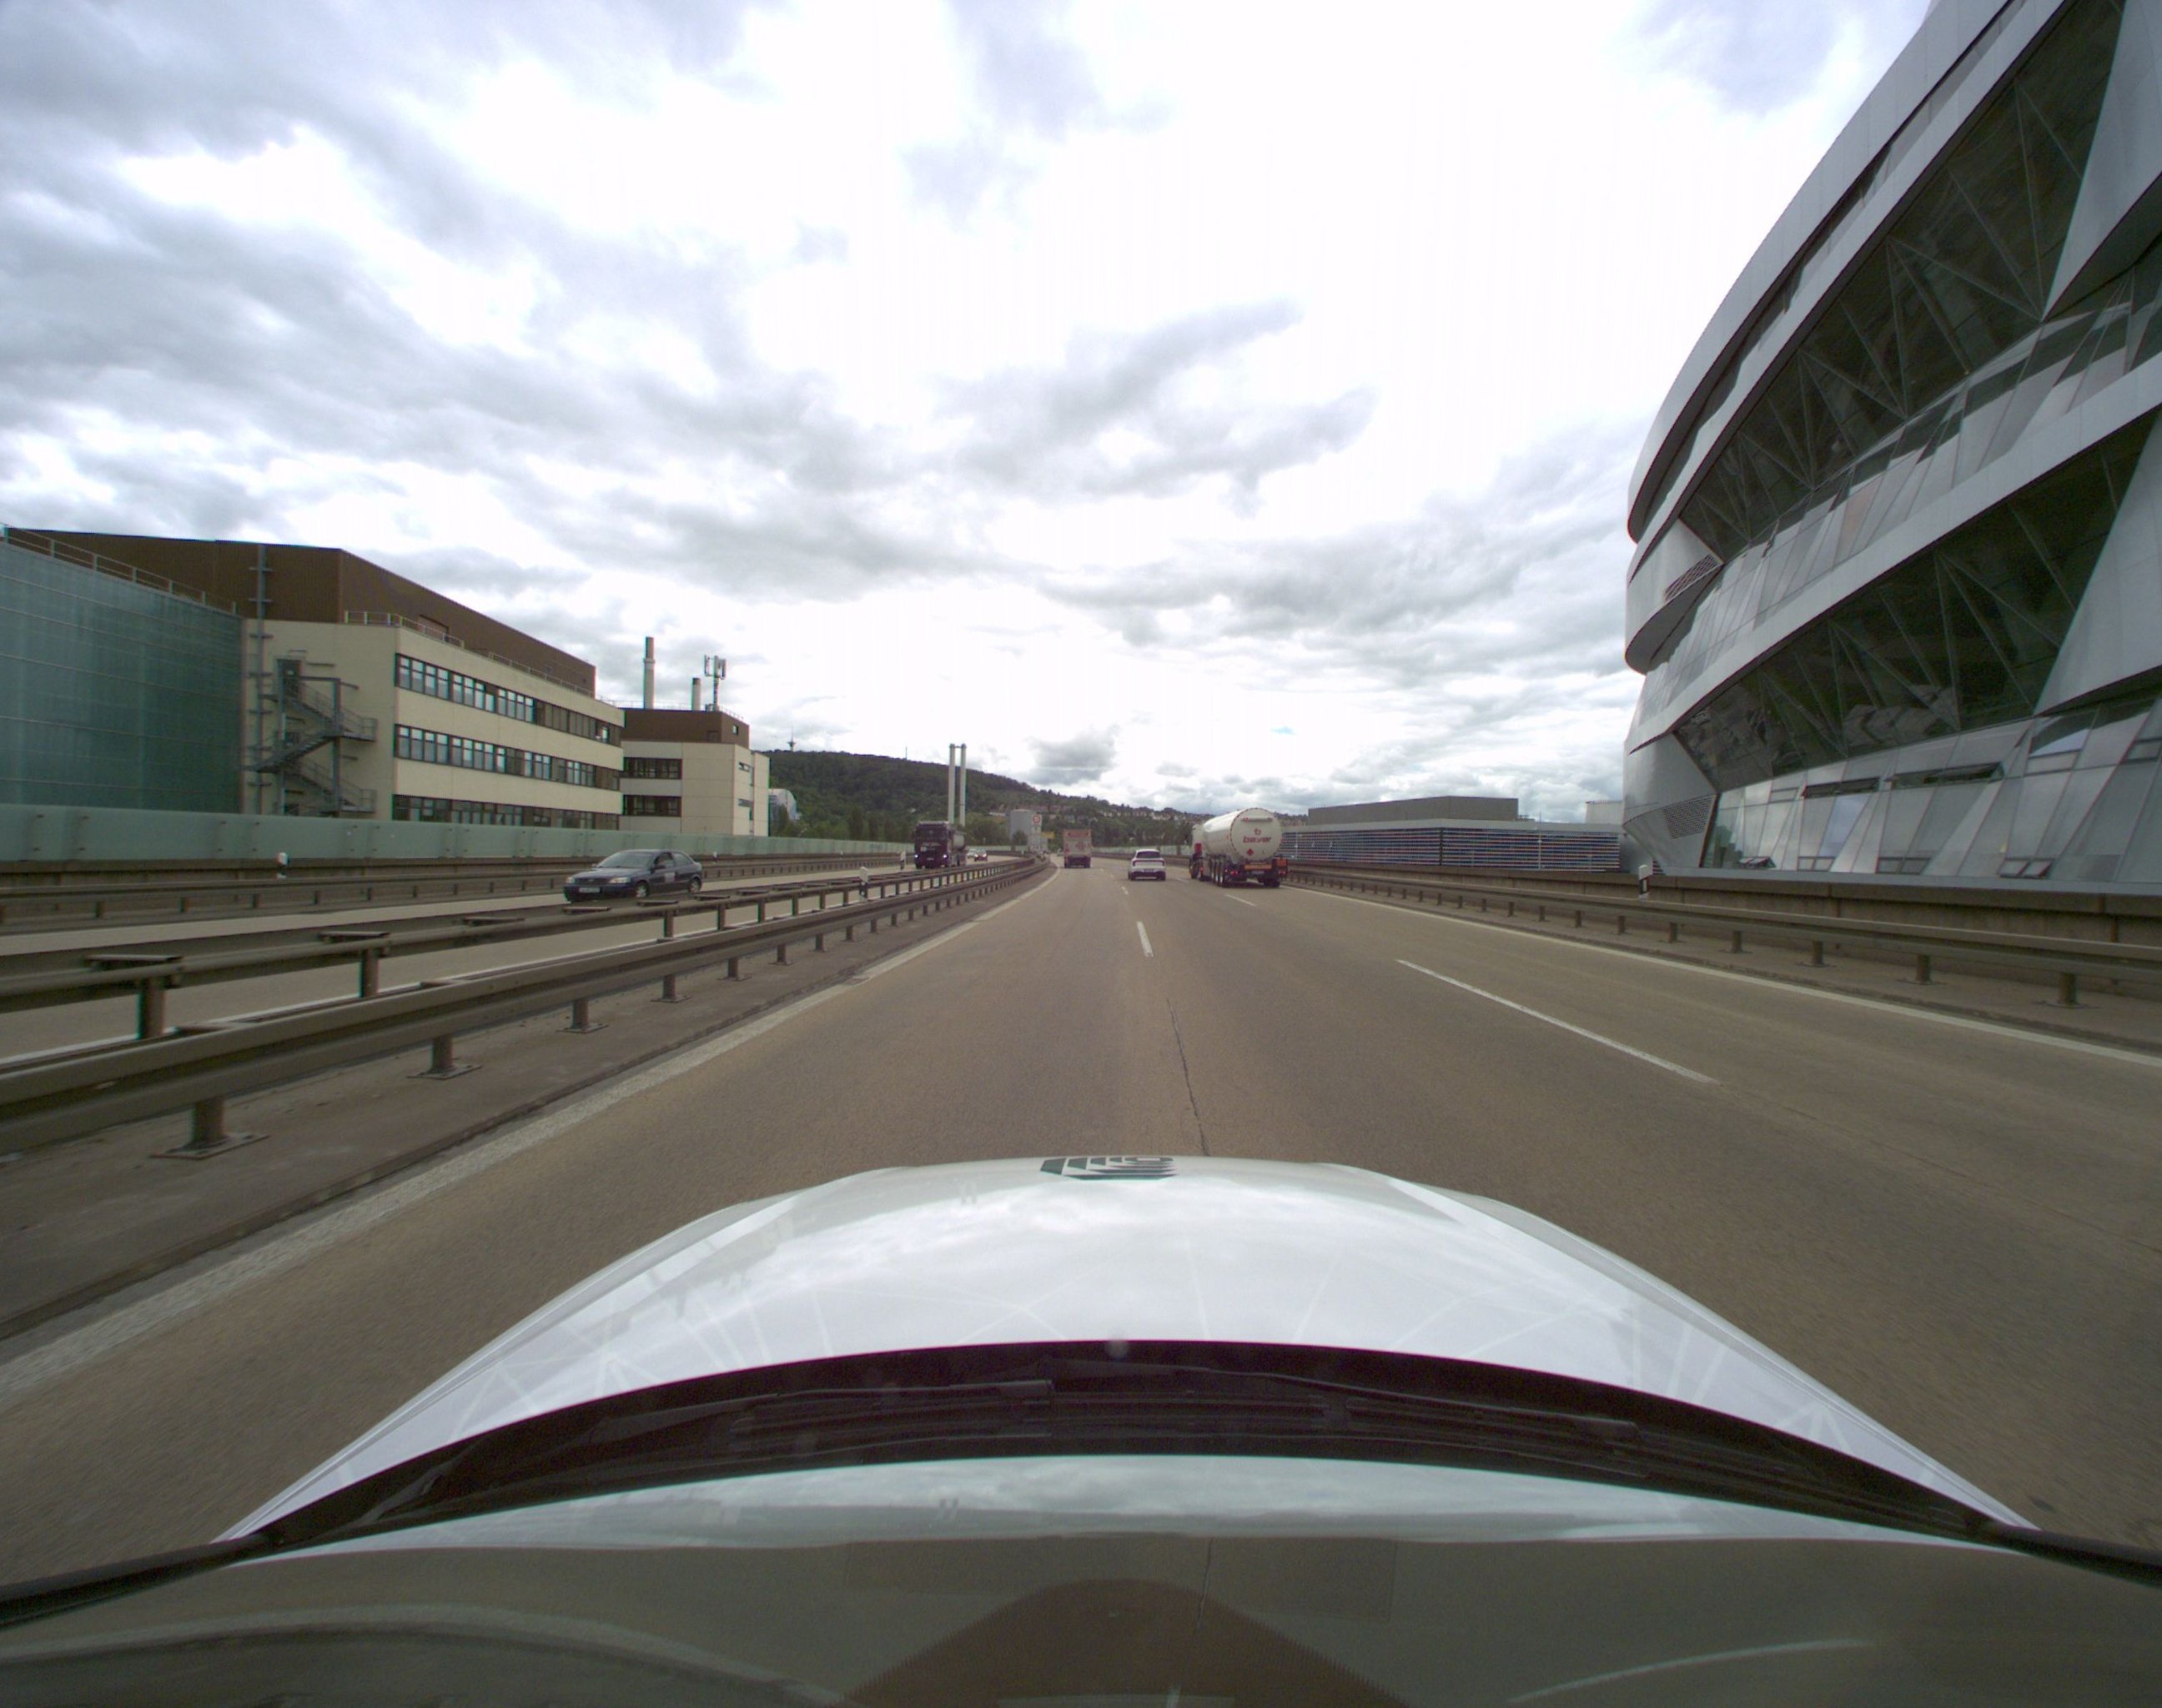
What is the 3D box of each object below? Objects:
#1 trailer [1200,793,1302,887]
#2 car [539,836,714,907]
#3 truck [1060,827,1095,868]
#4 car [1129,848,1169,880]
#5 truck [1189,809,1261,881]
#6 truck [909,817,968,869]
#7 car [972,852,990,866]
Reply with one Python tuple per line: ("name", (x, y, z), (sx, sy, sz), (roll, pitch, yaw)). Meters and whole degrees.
("trailer", (7.521, -0.542, 37.256), (3.046, 3.790, 8.304), (0, 0, 1))
("car", (-11.670, 0.430, 21.322), (1.986, 1.675, 4.409), (0, -1, 2))
("truck", (-0.262, -0.563, 77.866), (3.045, 3.691, 8.307), (0, 0, 2))
("car", (3.671, 0.539, 44.356), (1.986, 1.675, 4.410), (0, -1, 2))
("truck", (7.657, -0.431, 44.162), (3.003, 3.657, 6.275), (0, -1, 2))
("truck", (-11.239, -0.737, 65.372), (2.802, 3.809, 12.013), (0, 0, -1))
("car", (-12.871, 0.636, 104.878), (1.989, 1.675, 4.402), (0, -1, -4))
